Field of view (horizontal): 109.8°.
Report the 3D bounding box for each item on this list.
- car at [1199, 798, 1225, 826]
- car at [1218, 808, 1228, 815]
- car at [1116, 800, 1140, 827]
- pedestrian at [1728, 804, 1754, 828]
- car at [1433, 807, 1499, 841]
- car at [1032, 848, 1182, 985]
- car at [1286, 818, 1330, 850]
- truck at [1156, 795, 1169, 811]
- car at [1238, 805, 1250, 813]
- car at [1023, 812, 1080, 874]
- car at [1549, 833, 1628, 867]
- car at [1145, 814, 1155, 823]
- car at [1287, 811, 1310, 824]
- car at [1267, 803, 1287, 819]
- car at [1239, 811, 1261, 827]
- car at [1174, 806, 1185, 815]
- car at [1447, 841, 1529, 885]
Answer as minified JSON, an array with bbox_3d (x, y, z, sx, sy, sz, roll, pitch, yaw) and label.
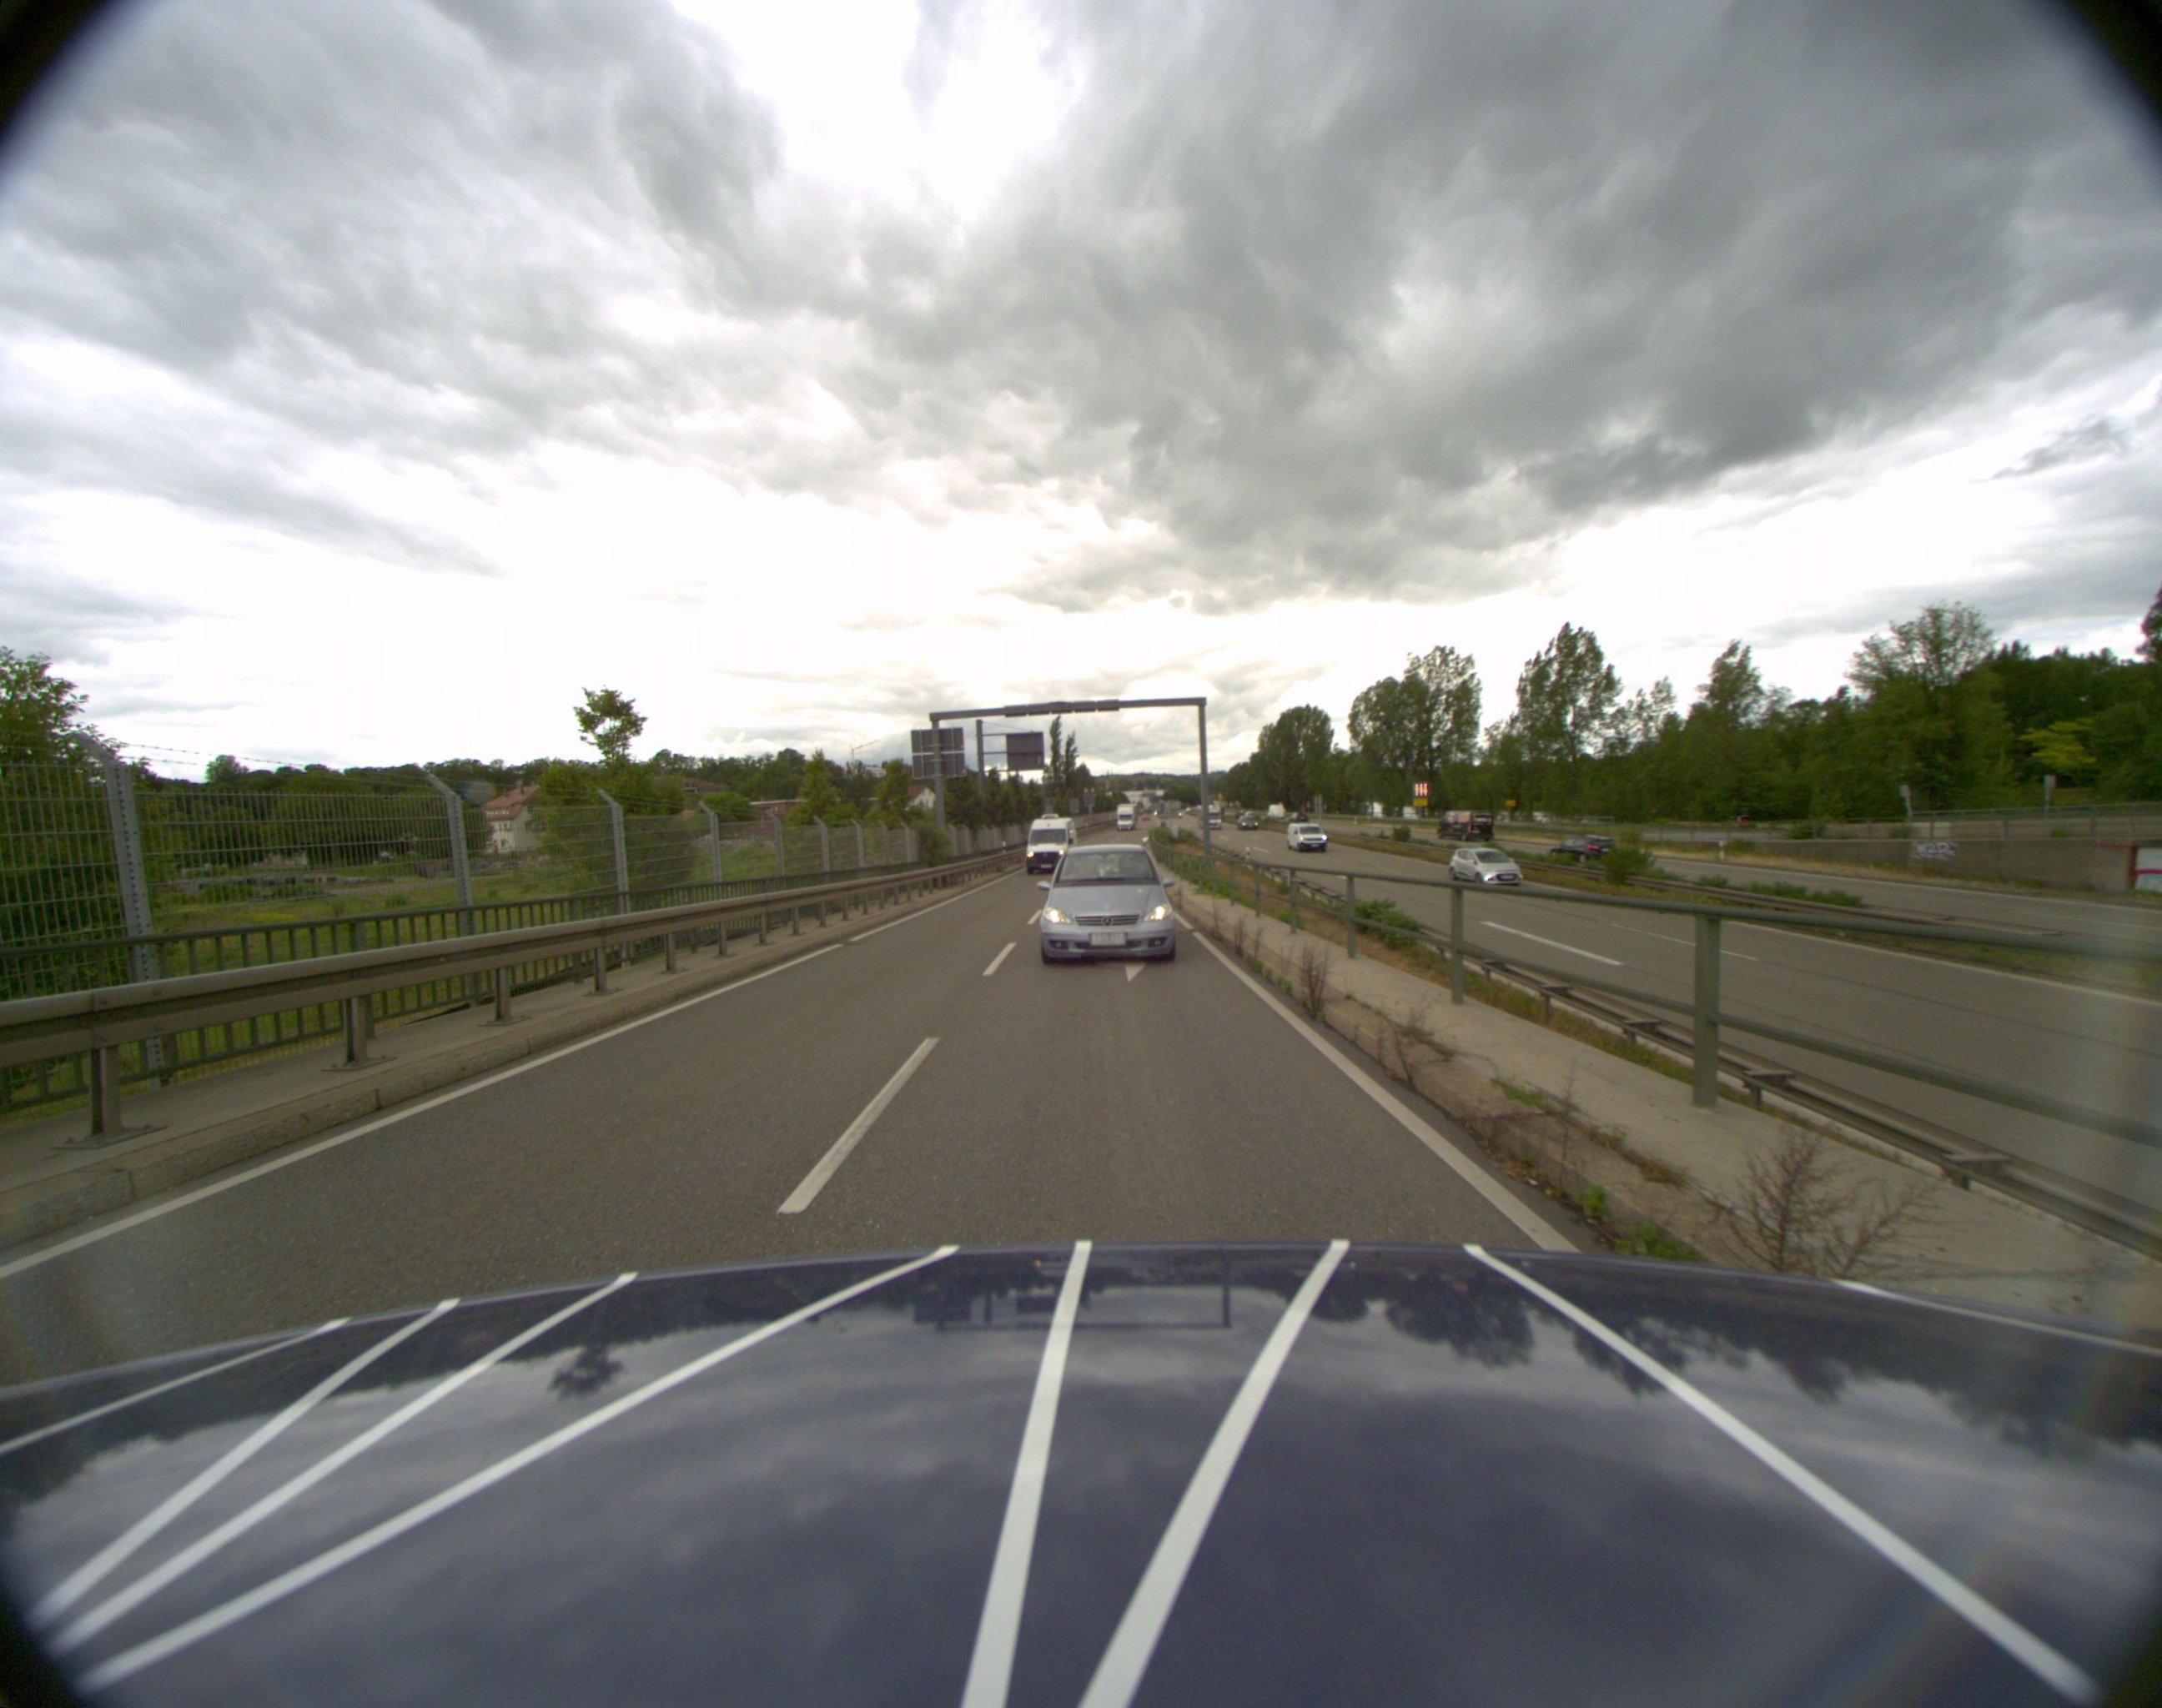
[{"bbox_3d":[16.367,-5.337,95.514,2.366,3.224,7.656,-2,5,4],"label":"car"},{"bbox_3d":[37.355,-11.245,199.756,1.903,1.641,3.929,-2,4,1],"label":"car"},{"bbox_3d":[6.170,-5.225,99.203,2.664,3.311,7.091,-2,2,6],"label":"car"},{"bbox_3d":[46.702,-2.697,53.772,0.832,1.696,1.077,-3,5,1],"label":"pedestrian"},{"bbox_3d":[31.241,-2.498,61.921,2.250,2.534,6.109,-2,4,0],"label":"car"},{"bbox_3d":[0.335,0.756,11.345,1.781,1.578,3.999,-2,1,0],"label":"car"},{"bbox_3d":[16.041,-1.492,53.928,1.954,1.925,4.893,-2,5,3],"label":"car"},{"bbox_3d":[21.972,-13.963,206.044,2.758,4.229,6.692,-1,4,0],"label":"truck"},{"bbox_3d":[37.750,-10.423,175.660,1.903,1.641,3.929,-2,5,1],"label":"car"},{"bbox_3d":[-1.337,-0.575,38.037,2.115,2.768,6.779,-2,1,3],"label":"car"},{"bbox_3d":[27.311,-0.251,41.039,1.668,1.493,3.855,-1,5,1],"label":"car"},{"bbox_3d":[13.532,-6.964,149.461,1.780,1.578,4.000,-2,1,2],"label":"car"},{"bbox_3d":[29.585,-4.935,103.322,1.903,1.641,4.330,-1,4,1],"label":"car"},{"bbox_3d":[34.855,-7.708,135.415,2.215,2.765,5.356,-1,5,1],"label":"car"},{"bbox_3d":[19.985,-4.217,90.123,1.844,1.704,4.277,-1,5,3],"label":"car"},{"bbox_3d":[21.824,-9.623,168.549,1.845,1.789,4.279,-2,1,1],"label":"car"},{"bbox_3d":[17.496,0.345,32.859,1.560,1.545,3.679,-2,4,0],"label":"car"}]
